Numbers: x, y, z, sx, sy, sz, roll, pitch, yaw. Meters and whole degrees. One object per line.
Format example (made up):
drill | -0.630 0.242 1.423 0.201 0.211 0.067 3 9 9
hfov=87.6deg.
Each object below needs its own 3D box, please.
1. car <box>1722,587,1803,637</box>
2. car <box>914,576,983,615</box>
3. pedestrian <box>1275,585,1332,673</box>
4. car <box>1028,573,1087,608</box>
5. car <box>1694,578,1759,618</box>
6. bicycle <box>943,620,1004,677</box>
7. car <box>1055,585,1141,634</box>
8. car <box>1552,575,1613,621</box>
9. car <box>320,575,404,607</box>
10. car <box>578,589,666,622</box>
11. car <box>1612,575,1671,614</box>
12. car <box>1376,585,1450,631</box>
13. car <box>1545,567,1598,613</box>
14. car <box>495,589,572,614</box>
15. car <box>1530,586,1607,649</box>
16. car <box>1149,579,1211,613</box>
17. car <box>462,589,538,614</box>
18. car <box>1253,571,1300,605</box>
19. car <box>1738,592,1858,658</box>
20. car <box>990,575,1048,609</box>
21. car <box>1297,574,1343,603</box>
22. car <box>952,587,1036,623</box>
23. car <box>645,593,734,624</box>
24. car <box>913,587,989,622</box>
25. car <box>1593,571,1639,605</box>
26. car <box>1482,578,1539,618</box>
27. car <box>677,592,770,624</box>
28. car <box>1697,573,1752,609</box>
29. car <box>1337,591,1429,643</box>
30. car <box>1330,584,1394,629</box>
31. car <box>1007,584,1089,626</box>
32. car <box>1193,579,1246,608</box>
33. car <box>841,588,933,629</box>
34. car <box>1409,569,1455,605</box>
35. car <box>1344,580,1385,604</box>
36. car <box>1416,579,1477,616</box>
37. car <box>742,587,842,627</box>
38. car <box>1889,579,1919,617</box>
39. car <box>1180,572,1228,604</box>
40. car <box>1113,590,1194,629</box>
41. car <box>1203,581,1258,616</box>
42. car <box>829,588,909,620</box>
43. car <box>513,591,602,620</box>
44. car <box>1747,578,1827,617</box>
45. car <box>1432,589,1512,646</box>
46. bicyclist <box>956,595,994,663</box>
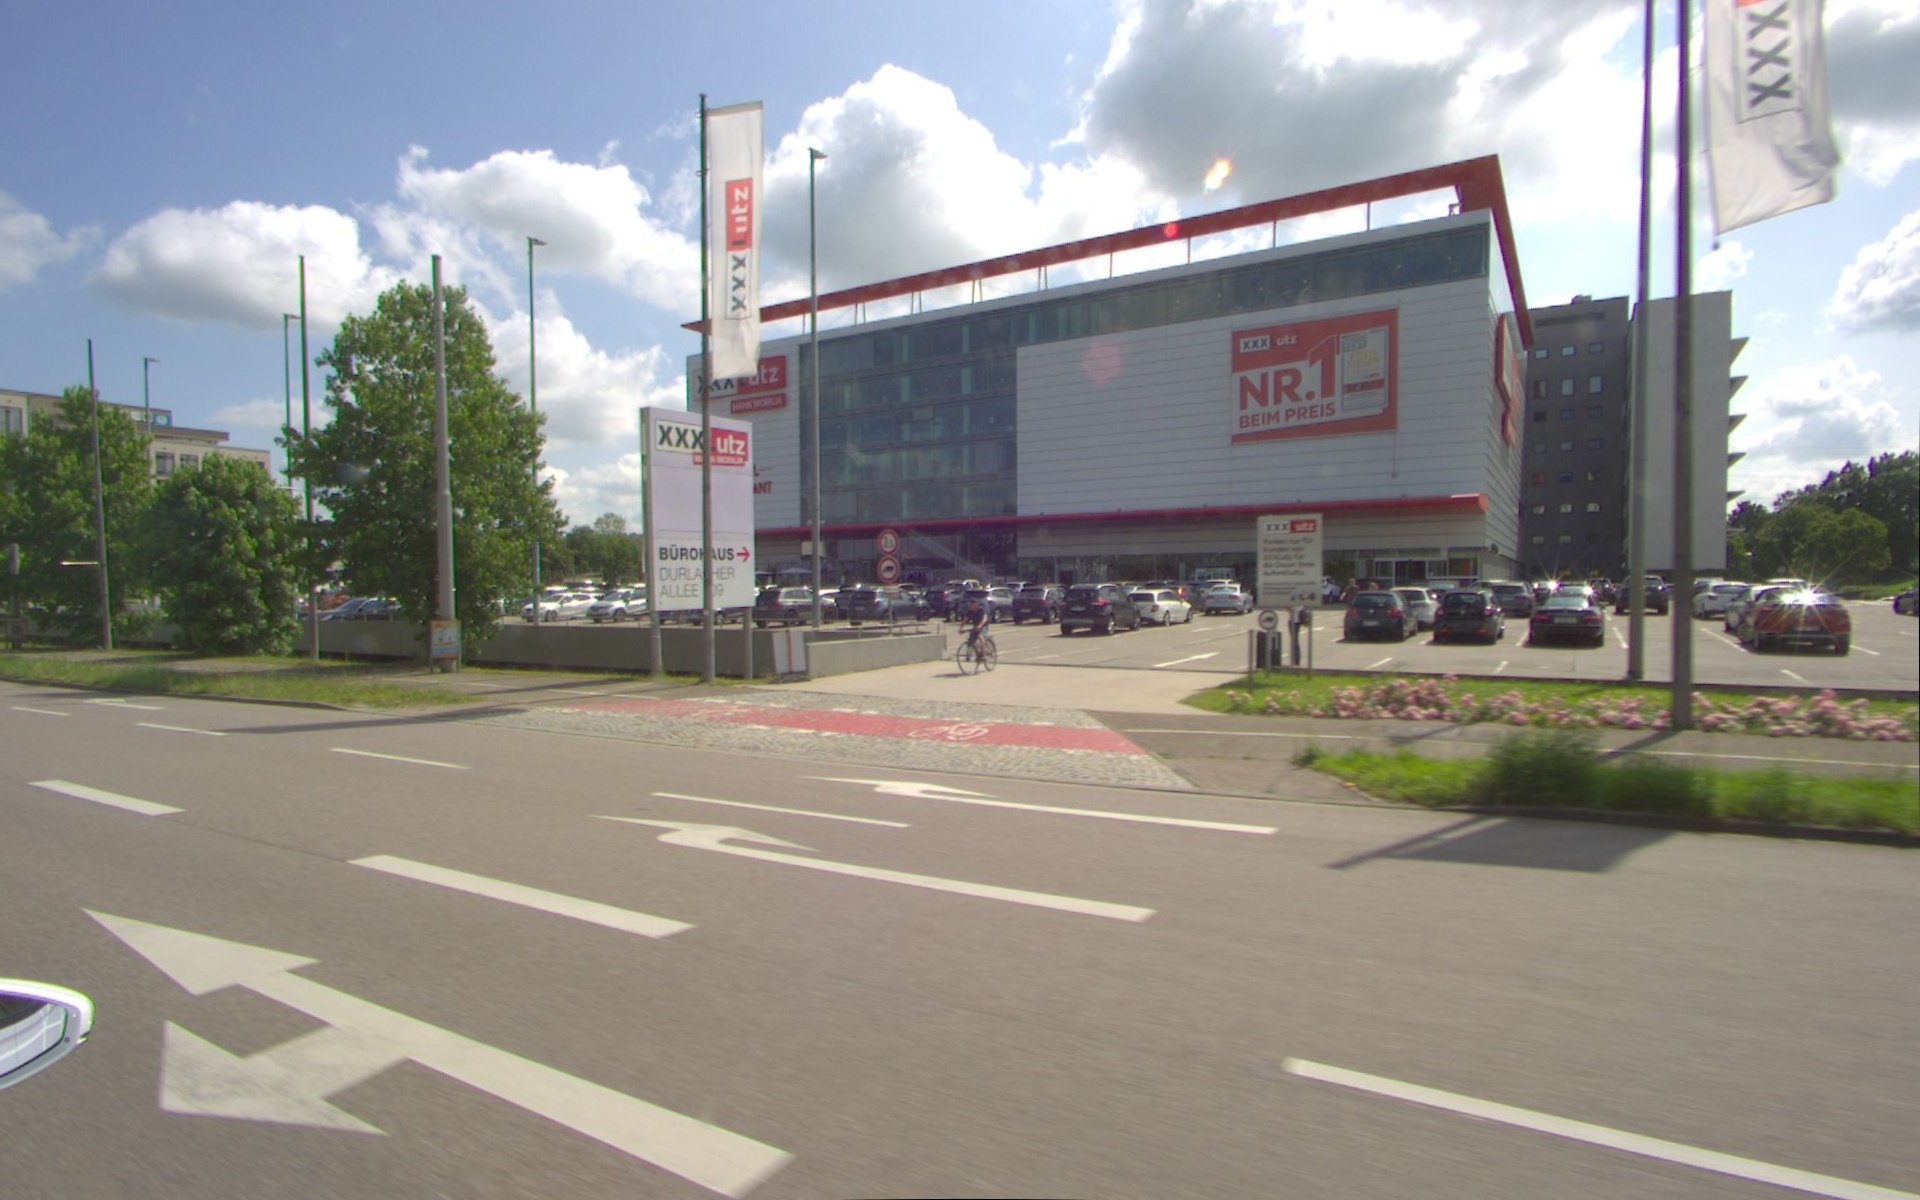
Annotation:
car | 24.761 0.319 31.013 1.580 1.381 4.012 1 3 34
car | -0.593 -0.248 54.753 1.971 2.040 3.978 1 0 32
pedestrian | 7.216 0.596 21.066 0.855 1.806 0.784 0 1 -6
car | 5.975 -0.567 60.987 1.971 2.040 3.979 1 0 32
car | 29.581 -0.057 38.747 1.645 1.471 3.978 1 0 33
bicycle | 0.310 1.005 21.402 0.614 1.082 1.962 0 1 22
car | 4.930 0.294 35.388 1.715 1.552 4.048 1 2 29
car | 25.722 -0.088 41.304 1.973 1.762 3.976 -1 0 34
car | -45.007 -0.613 75.448 1.958 2.224 5.152 -1 -1 32
car | -17.307 0.291 51.418 1.970 1.591 3.982 -1 0 30
car | 29.714 -0.211 43.774 1.971 1.609 4.216 1 0 32
car | 15.984 0.259 35.214 1.800 1.528 4.140 1 0 33
car | 27.971 -0.432 45.774 1.971 2.040 3.978 1 0 33
car | -26.789 0.049 62.996 1.865 1.454 4.174 1 2 31
car | 17.095 0.432 28.036 1.659 1.529 4.346 0 2 34
car | 11.155 -0.221 50.573 1.825 1.609 4.217 1 2 30
car | -29.223 0.049 63.738 1.701 1.454 4.174 1 2 31
car | 19.981 -0.740 63.191 1.970 2.040 3.981 1 0 31
car | 21.047 0.554 25.316 1.821 1.381 4.346 1 3 34
car | 3.721 -0.494 62.395 1.971 2.040 3.979 1 0 32
car | 22.393 -0.690 62.265 1.970 1.746 3.981 1 0 31
car | 1.572 0.232 44.579 1.864 1.519 4.351 -1 0 30
car | -13.064 0.364 48.580 1.663 1.343 4.173 0 2 32
car | -0.362 0.171 46.092 1.702 1.484 3.979 1 2 31
car | 35.489 -0.598 54.157 1.972 1.762 3.976 1 0 34
car | 23.441 -0.080 42.595 1.825 1.572 4.038 -1 0 33
car | -11.020 0.336 46.947 1.738 1.343 4.350 1 2 31
car | 39.061 -0.442 51.273 1.972 1.762 3.976 1 0 34
car | 13.156 0.470 31.015 1.821 1.381 4.346 1 3 34
car | 15.495 0.206 38.489 1.670 1.609 4.008 1 1 31
car | 3.818 0.159 42.872 1.787 1.643 4.349 1 2 31
car | 14.315 -0.345 55.120 1.681 1.531 4.331 1 0 31
car | -2.989 0.305 41.879 1.738 1.574 4.174 1 2 31
car | 27.783 -0.724 58.846 1.971 2.040 3.979 1 0 32
car | 24.599 -0.475 60.805 1.694 1.361 3.854 1 0 32
car | 21.482 -0.138 44.107 1.971 1.528 3.977 0 2 33
car | -7.331 0.253 44.086 2.000 1.596 4.350 1 2 31
car | 38.558 -0.050 39.510 1.891 1.460 3.982 0 -1 30
car | 16.031 -0.771 65.767 1.970 2.040 3.981 1 0 31
car | 7.833 0.326 40.303 1.733 1.447 4.280 2 2 32
car | 13.139 -0.092 48.552 1.679 1.532 4.147 1 2 28
car | -4.369 0.183 48.711 1.734 1.483 4.232 1 0 31
car | -21.546 0.258 53.754 1.864 1.408 4.177 0 2 29
car | 34.750 -0.095 42.188 1.890 1.550 3.982 1 0 30
car | 15.186 0.455 29.582 1.604 1.462 4.346 1 3 34
bicyclist | 0.329 0.612 21.429 0.607 1.432 0.713 0 1 22
